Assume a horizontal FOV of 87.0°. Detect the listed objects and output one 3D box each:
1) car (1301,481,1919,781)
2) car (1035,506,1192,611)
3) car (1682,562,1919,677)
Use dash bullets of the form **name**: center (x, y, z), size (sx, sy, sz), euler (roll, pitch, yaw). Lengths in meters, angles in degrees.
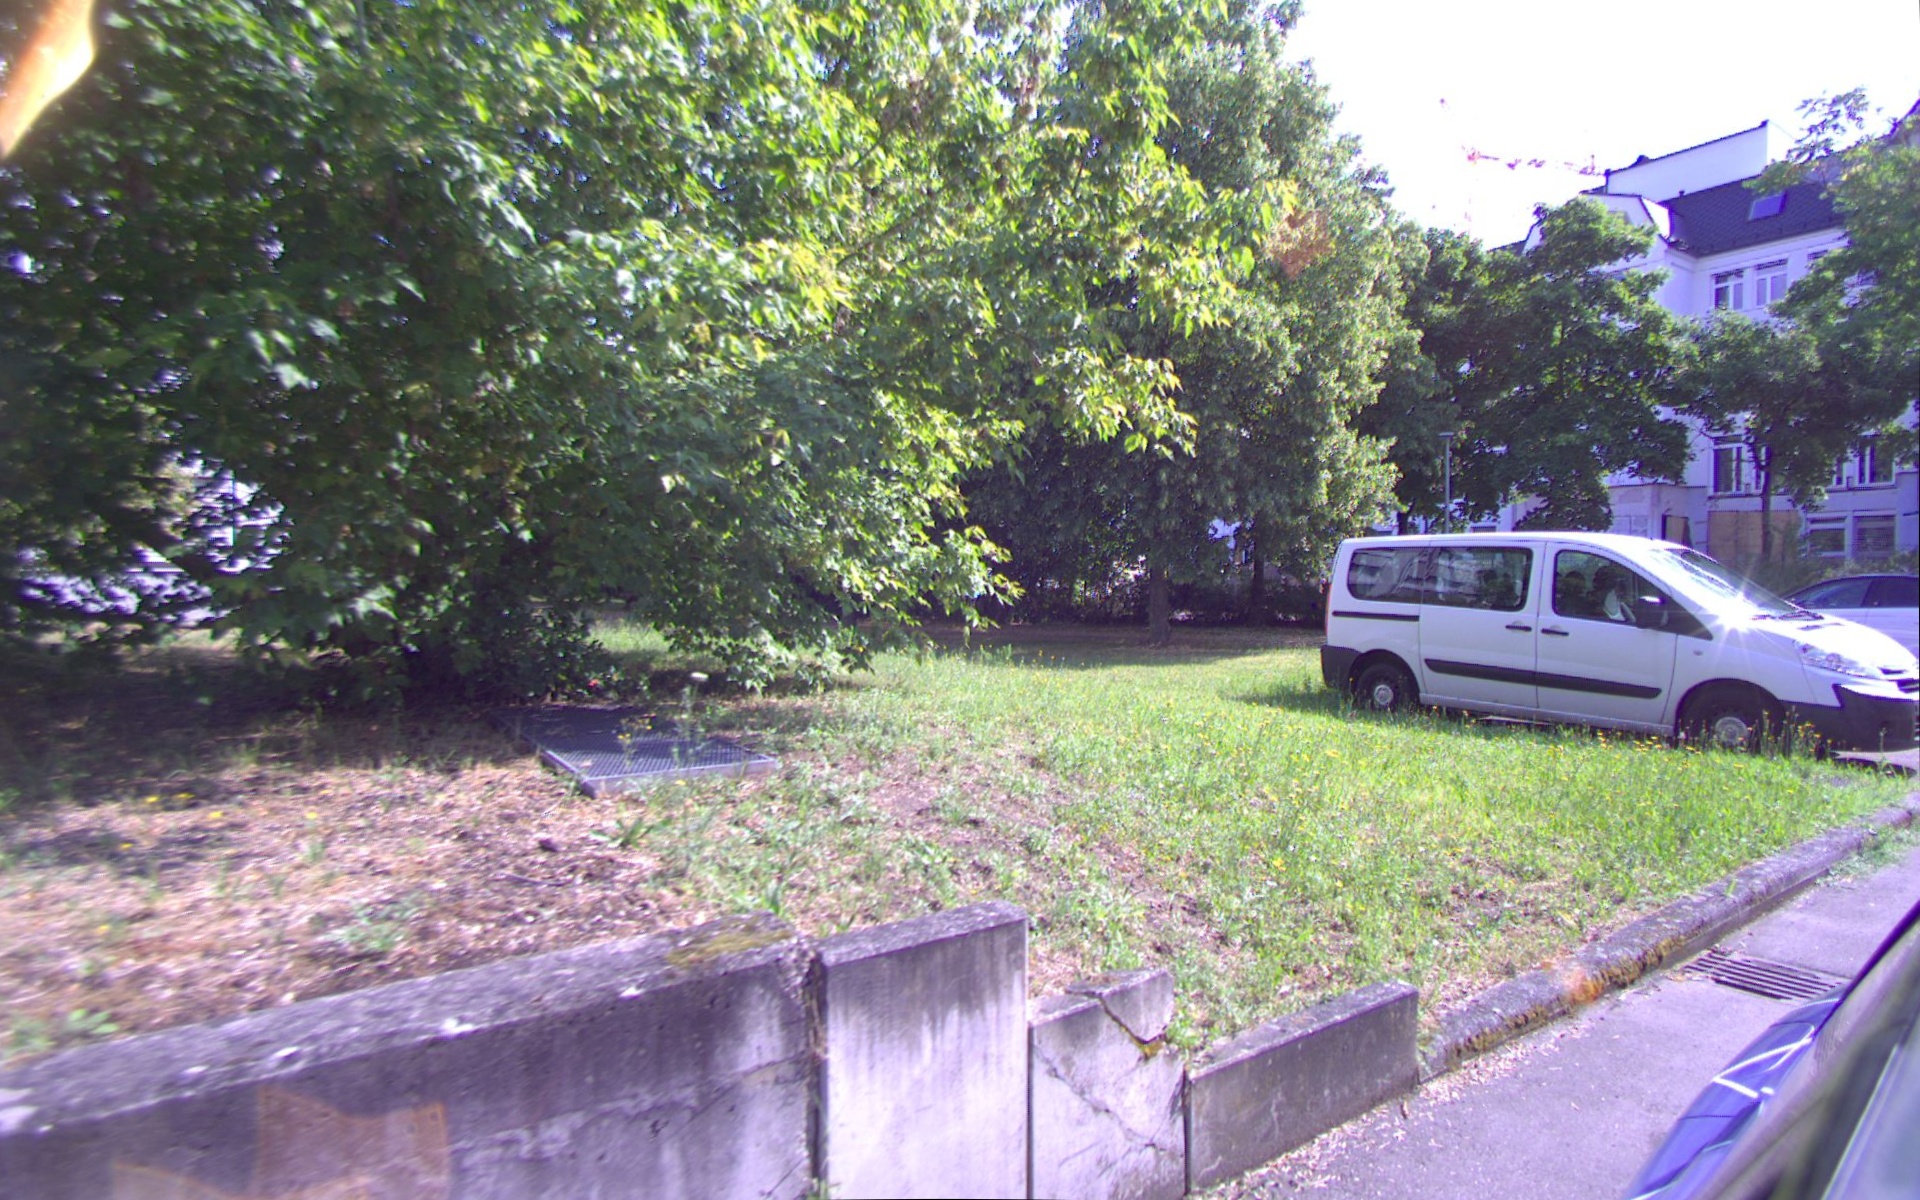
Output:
- **car**: center (5.841, 0.173, 9.324), size (1.961, 1.989, 4.959), euler (2, 0, -32)
- **car**: center (5.332, -1.264, 34.162), size (1.990, 3.086, 6.875), euler (1, -1, 39)
- **car**: center (12.502, 0.230, 13.828), size (1.725, 1.437, 3.918), euler (0, 2, -34)
